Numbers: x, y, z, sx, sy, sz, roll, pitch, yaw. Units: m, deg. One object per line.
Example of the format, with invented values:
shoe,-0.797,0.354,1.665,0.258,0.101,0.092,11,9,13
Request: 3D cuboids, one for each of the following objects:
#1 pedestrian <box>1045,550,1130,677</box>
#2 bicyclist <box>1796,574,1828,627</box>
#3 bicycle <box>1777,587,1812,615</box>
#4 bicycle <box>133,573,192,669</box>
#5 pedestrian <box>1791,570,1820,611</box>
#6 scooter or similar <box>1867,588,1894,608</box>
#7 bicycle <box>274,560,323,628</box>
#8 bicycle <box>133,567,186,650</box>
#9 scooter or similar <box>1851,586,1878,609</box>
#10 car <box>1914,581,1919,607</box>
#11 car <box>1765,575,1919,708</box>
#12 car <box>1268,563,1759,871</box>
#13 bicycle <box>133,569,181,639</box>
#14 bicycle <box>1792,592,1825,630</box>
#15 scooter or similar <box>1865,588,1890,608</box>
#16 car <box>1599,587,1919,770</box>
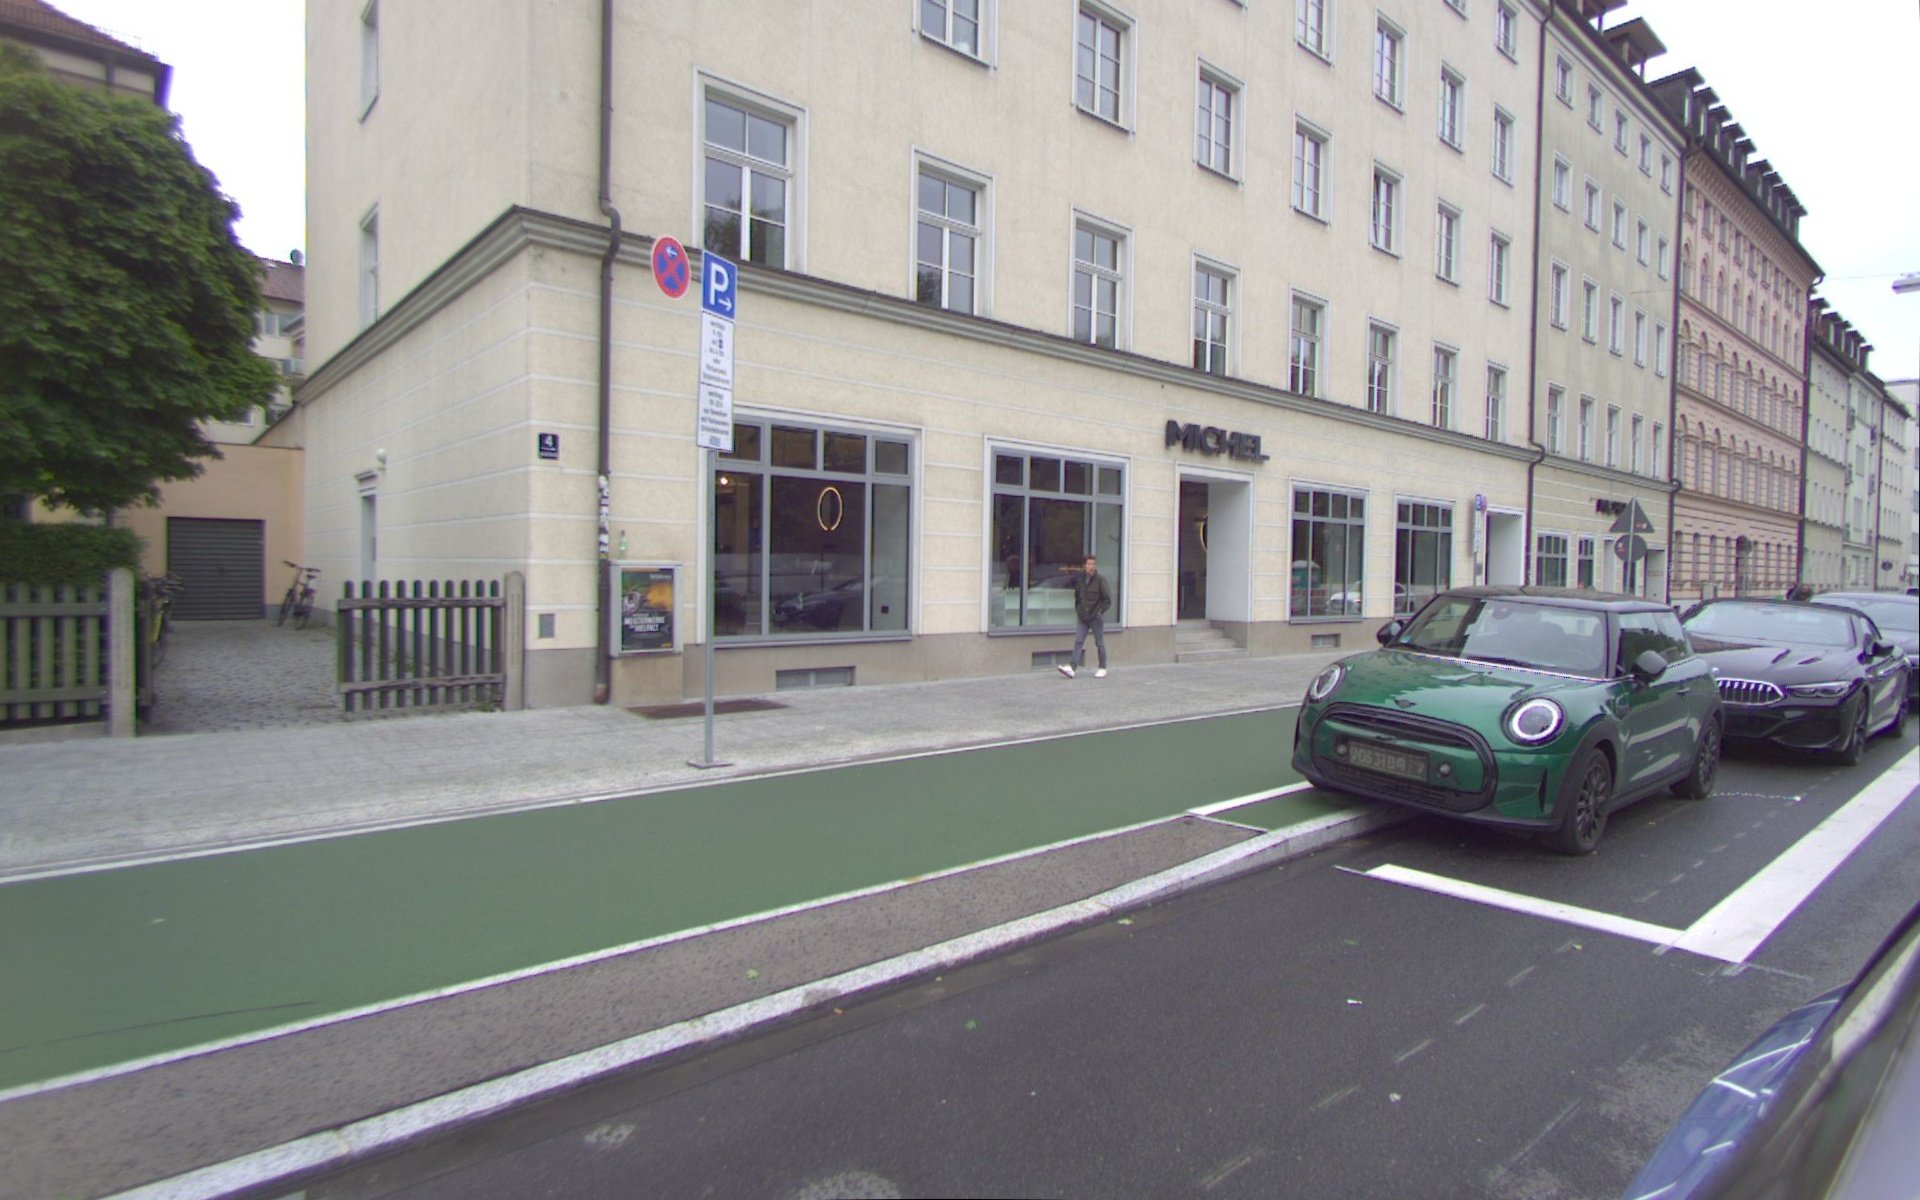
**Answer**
pedestrian,1.795,0.165,14.227,0.846,1.709,0.780,0,2,-40
bicyclist,24.507,0.010,29.104,0.630,1.485,0.643,2,2,43
bicycle,37.575,0.045,45.553,1.690,1.191,0.558,0,1,-26
bicycle,-10.236,0.226,12.971,0.512,1.130,1.830,0,2,-41
pedestrian,36.516,-0.414,43.711,0.818,1.767,0.795,0,1,-40
scooter or similar,55.194,-0.118,60.714,1.064,1.207,0.451,2,1,21
bicycle,-12.194,-0.129,18.644,0.512,1.186,1.830,0,2,-41
bicycle,-11.598,0.094,14.647,0.512,1.124,1.830,0,2,-41
scooter or similar,51.626,-0.130,57.760,1.055,1.260,0.554,1,1,-6
car,68.831,-0.404,71.423,3.931,1.855,1.765,-1,2,-41
car,12.916,0.493,14.157,4.386,1.497,1.813,0,6,-42
car,3.909,0.562,6.904,3.761,1.540,1.679,0,1,-40
bicycle,-12.811,0.039,16.137,0.512,1.048,1.830,0,2,-41
bicycle,24.440,0.302,29.145,0.630,1.049,1.987,2,2,42
scooter or similar,56.010,-0.122,61.784,1.059,1.207,0.436,1,1,10
car,8.249,0.590,10.098,4.635,1.425,1.830,0,1,-40
